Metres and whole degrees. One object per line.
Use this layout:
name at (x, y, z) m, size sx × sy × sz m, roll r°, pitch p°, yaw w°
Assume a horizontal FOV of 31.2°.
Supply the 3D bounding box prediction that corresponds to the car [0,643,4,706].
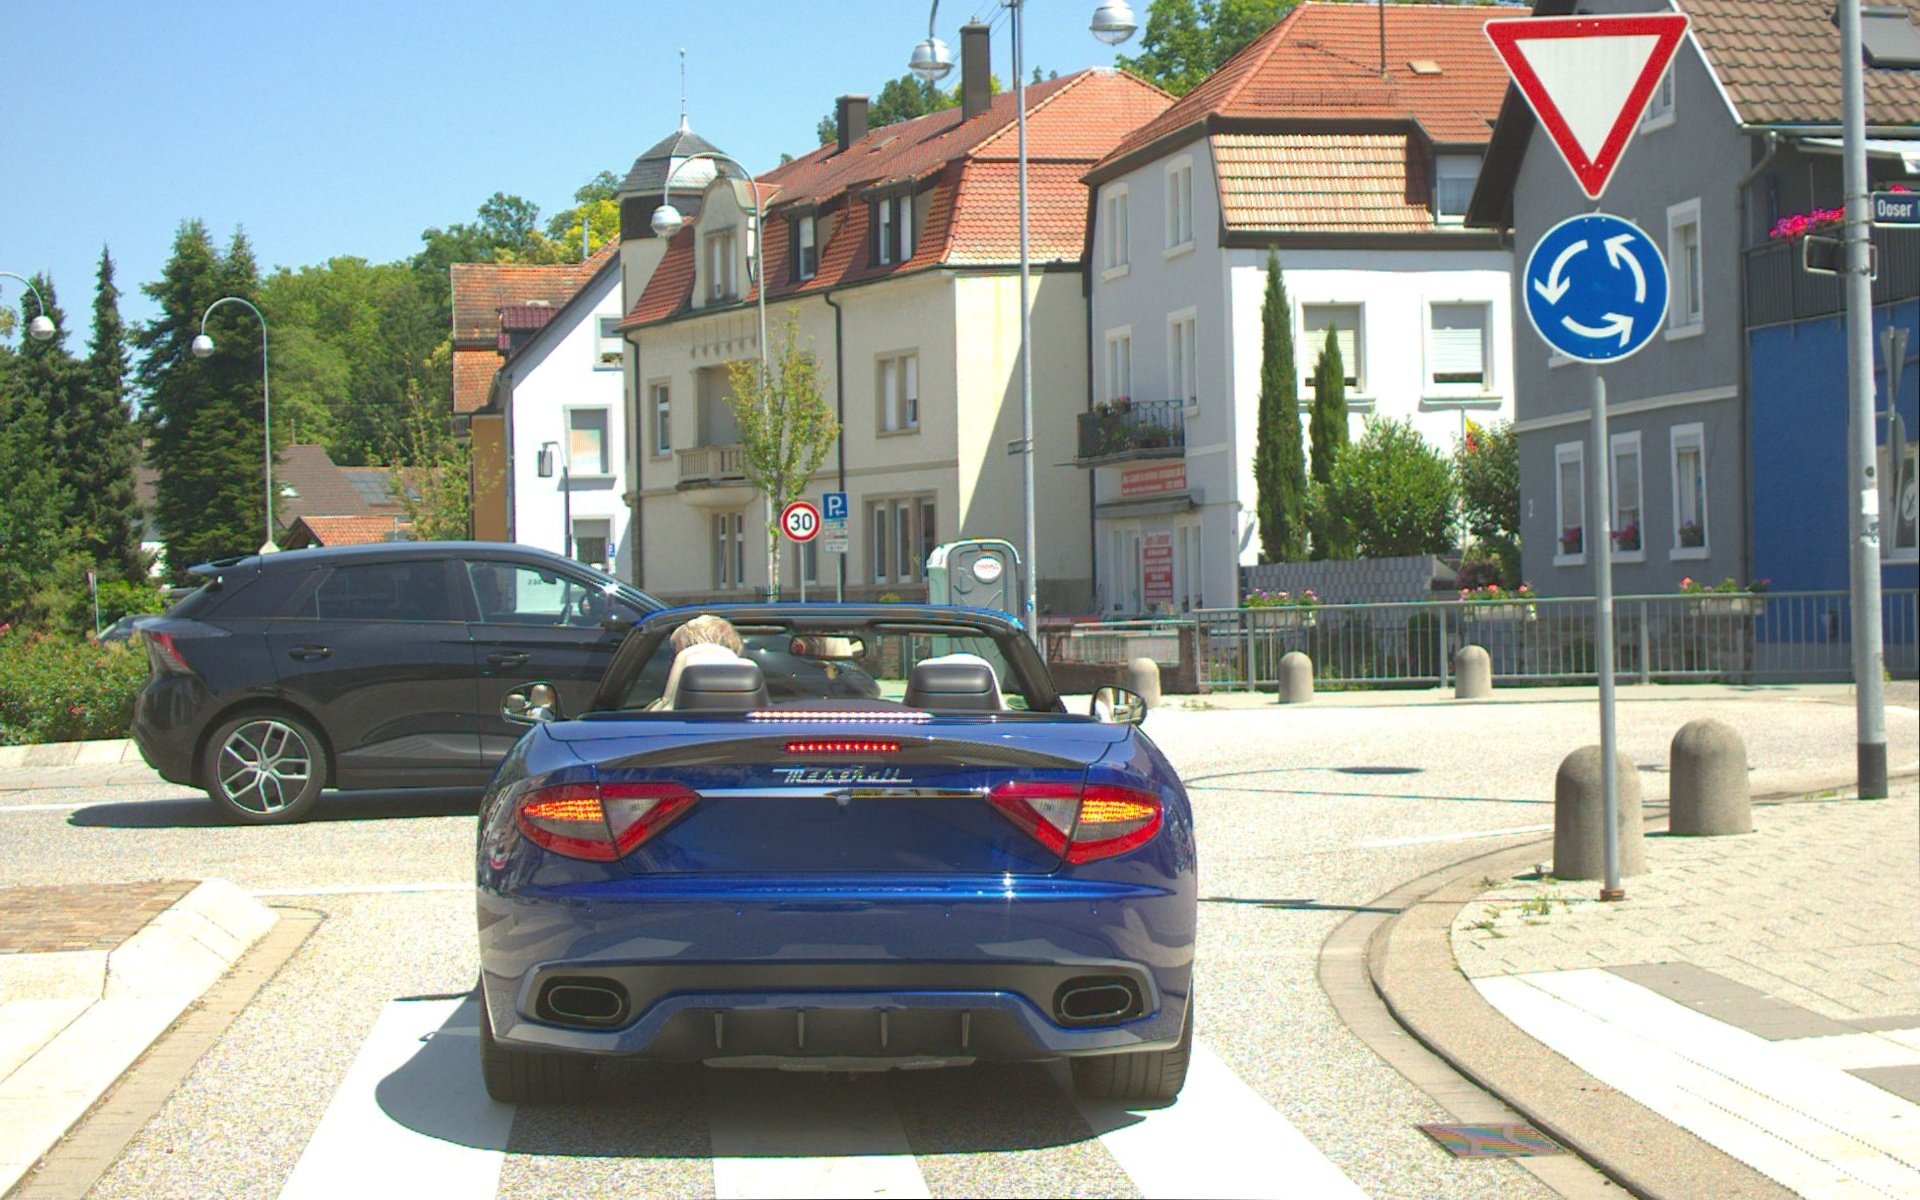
car at (-14.587, 0.830, 47.745) m, size 1.993 × 1.504 × 4.001 m, roll -3°, pitch 0°, yaw -9°

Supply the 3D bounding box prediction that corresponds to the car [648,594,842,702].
car at (-3.514, 0.803, 55.552) m, size 1.918 × 1.607 × 4.148 m, roll -2°, pitch -1°, yaw -21°

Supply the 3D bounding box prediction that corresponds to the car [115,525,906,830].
car at (-2.546, 0.390, 19.669) m, size 4.247 × 1.542 × 1.812 m, roll -1°, pitch 2°, yaw -8°

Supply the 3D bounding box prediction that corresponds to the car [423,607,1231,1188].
car at (-0.320, 0.711, 10.309) m, size 1.910 × 1.356 × 4.285 m, roll 0°, pitch 0°, yaw 0°
